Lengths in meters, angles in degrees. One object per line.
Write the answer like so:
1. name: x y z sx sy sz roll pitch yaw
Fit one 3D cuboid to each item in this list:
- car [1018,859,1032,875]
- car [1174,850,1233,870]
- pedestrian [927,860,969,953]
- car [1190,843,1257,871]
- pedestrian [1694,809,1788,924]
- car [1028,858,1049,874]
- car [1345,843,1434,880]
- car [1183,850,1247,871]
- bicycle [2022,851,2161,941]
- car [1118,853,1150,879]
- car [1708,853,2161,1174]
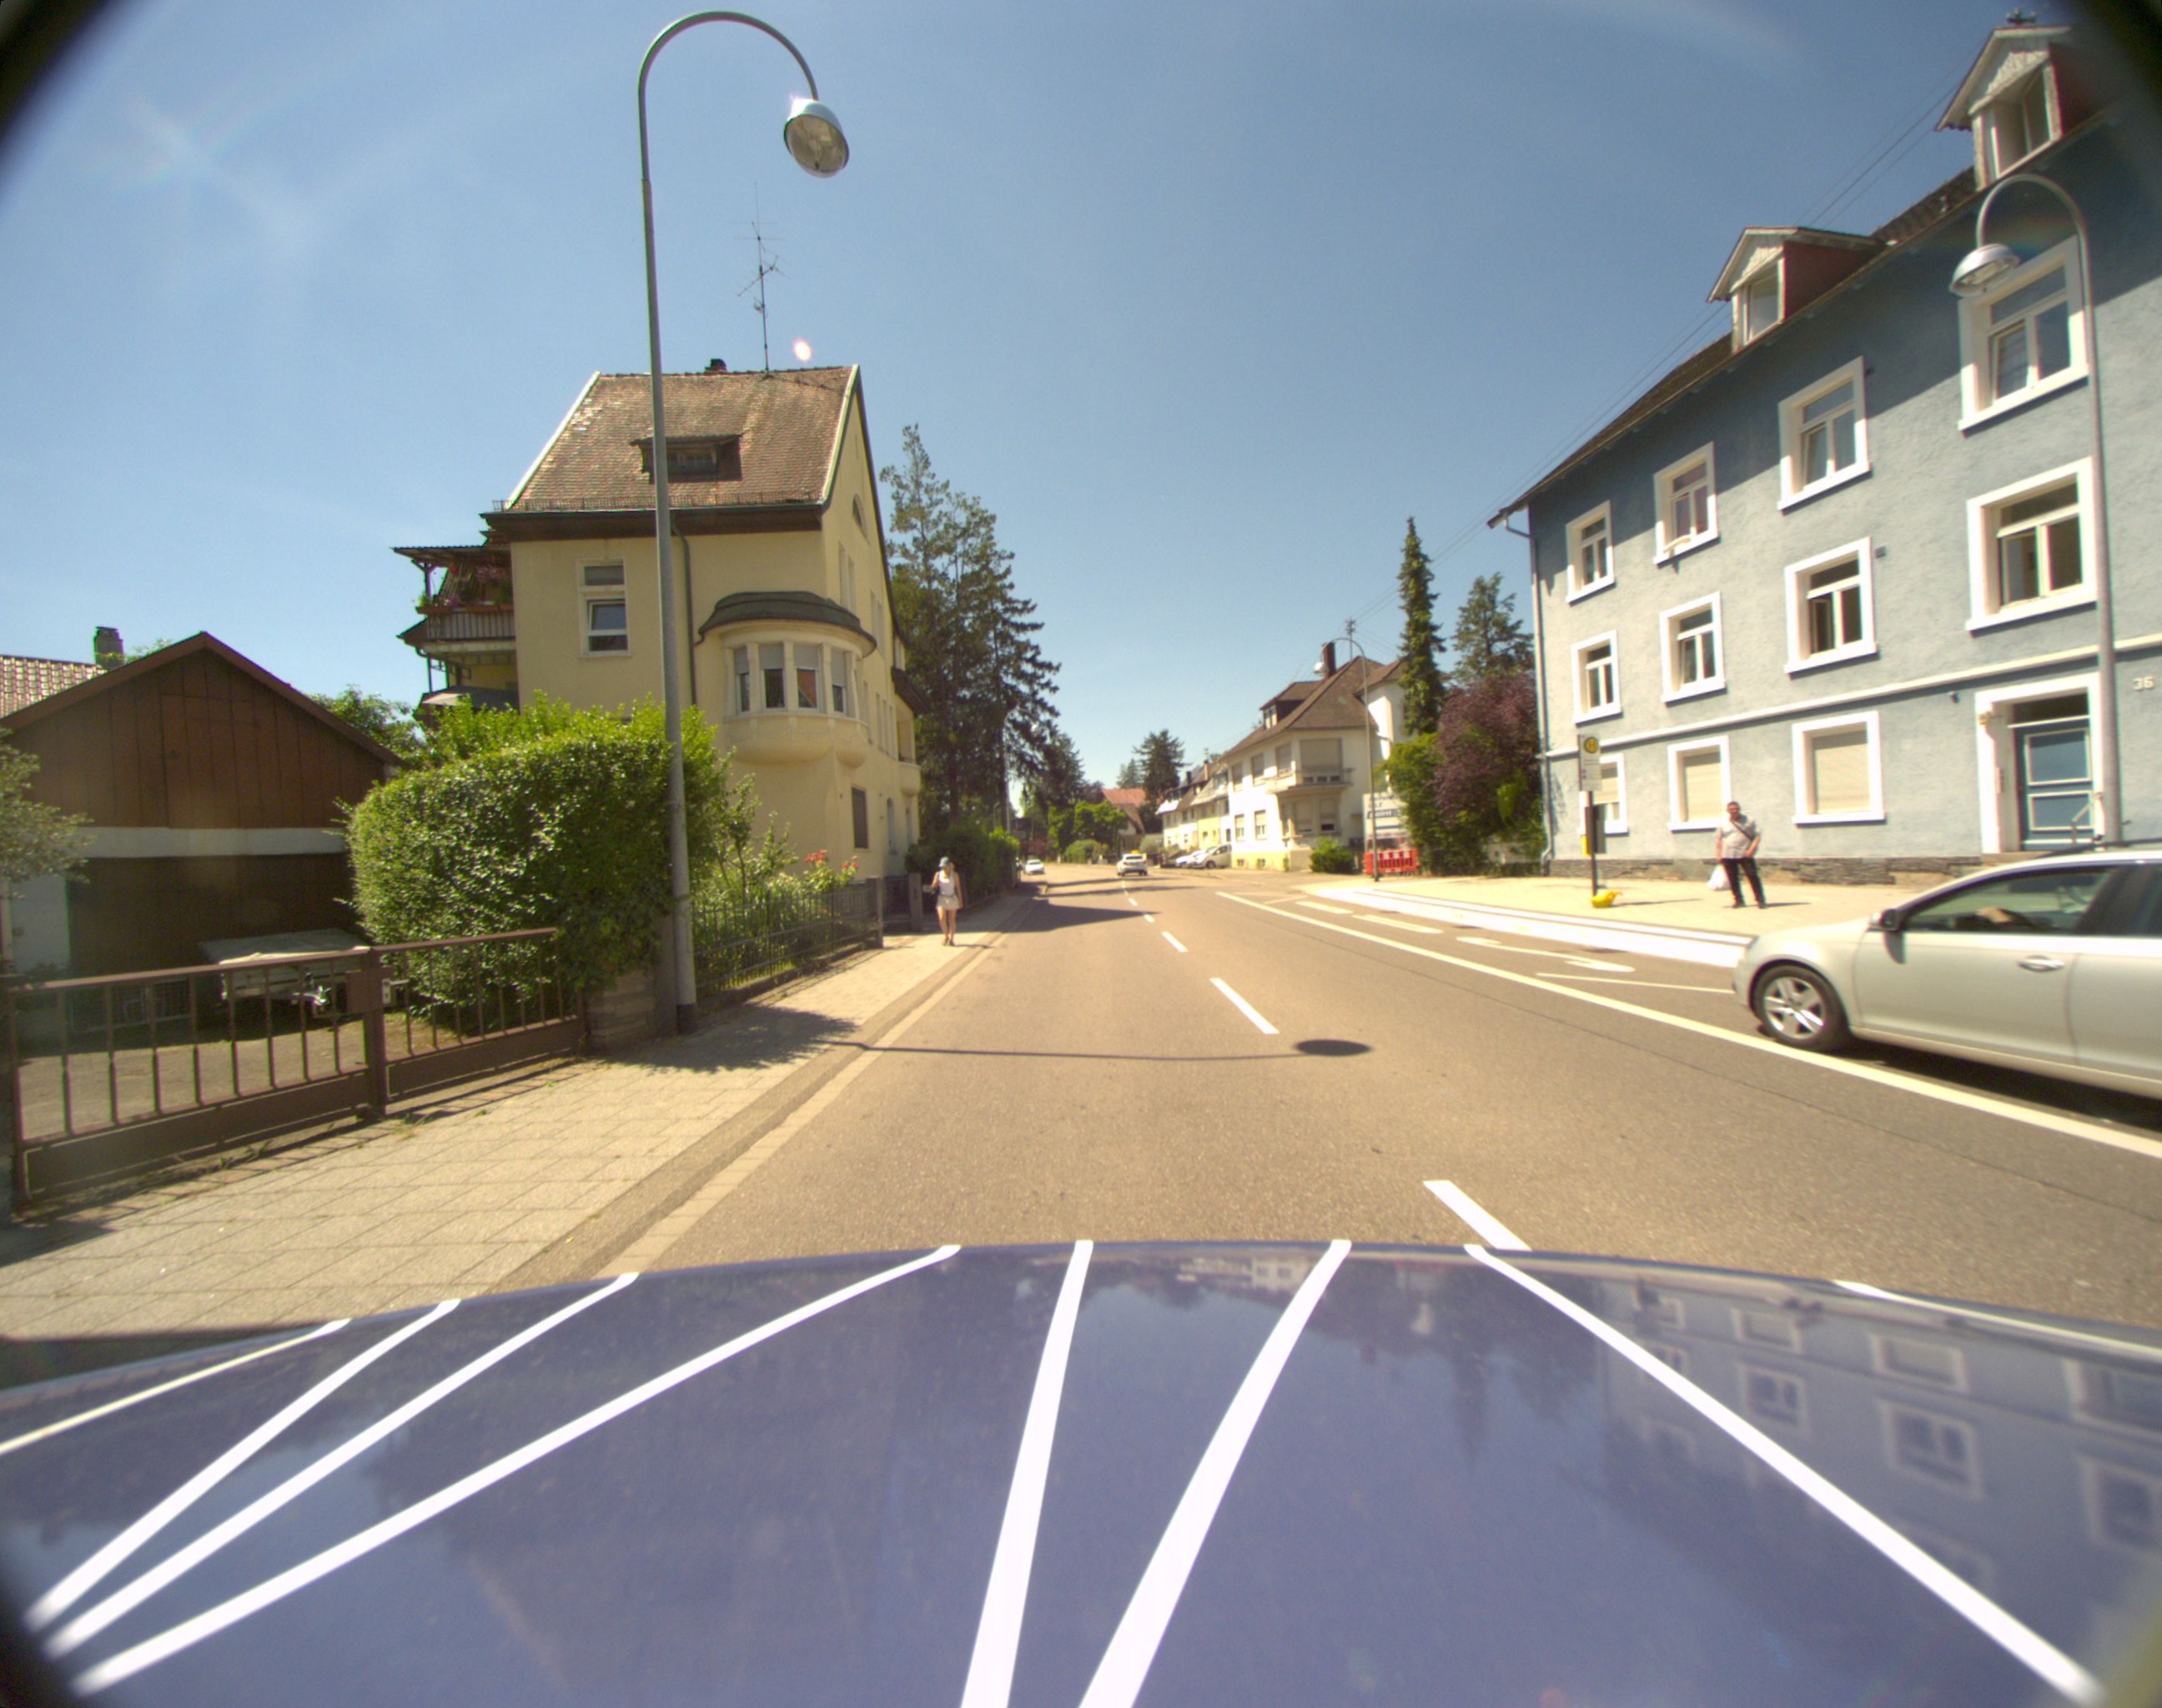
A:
1. car: -7.499 1.765 101.565 1.689 1.770 3.937 -5 3 -5
2. car: 9.816 0.495 60.927 4.264 1.486 1.880 -2 0 26
3. pedestrian: -2.453 0.949 14.076 0.625 1.634 0.771 2 1 -3
4. car: 10.363 0.218 55.423 4.366 1.866 1.848 -1 0 -13
5. pedestrian: 11.319 0.213 13.060 0.758 1.837 0.771 -6 0 -7
6. car: -4.328 1.166 76.579 1.689 1.446 3.737 -5 0 -8
7. car: 15.719 0.370 38.743 3.937 1.528 1.565 -2 -8 -19
8. car: 10.169 0.477 57.864 4.484 1.486 1.975 -1 0 -4
9. bicycle: 12.824 0.494 9.180 0.497 0.972 1.973 -7 1 5
10. car: 3.661 0.814 53.184 1.825 1.521 3.948 -3 2 -1
11. car: 6.040 0.806 3.894 1.843 1.520 4.393 3 -3 -4
